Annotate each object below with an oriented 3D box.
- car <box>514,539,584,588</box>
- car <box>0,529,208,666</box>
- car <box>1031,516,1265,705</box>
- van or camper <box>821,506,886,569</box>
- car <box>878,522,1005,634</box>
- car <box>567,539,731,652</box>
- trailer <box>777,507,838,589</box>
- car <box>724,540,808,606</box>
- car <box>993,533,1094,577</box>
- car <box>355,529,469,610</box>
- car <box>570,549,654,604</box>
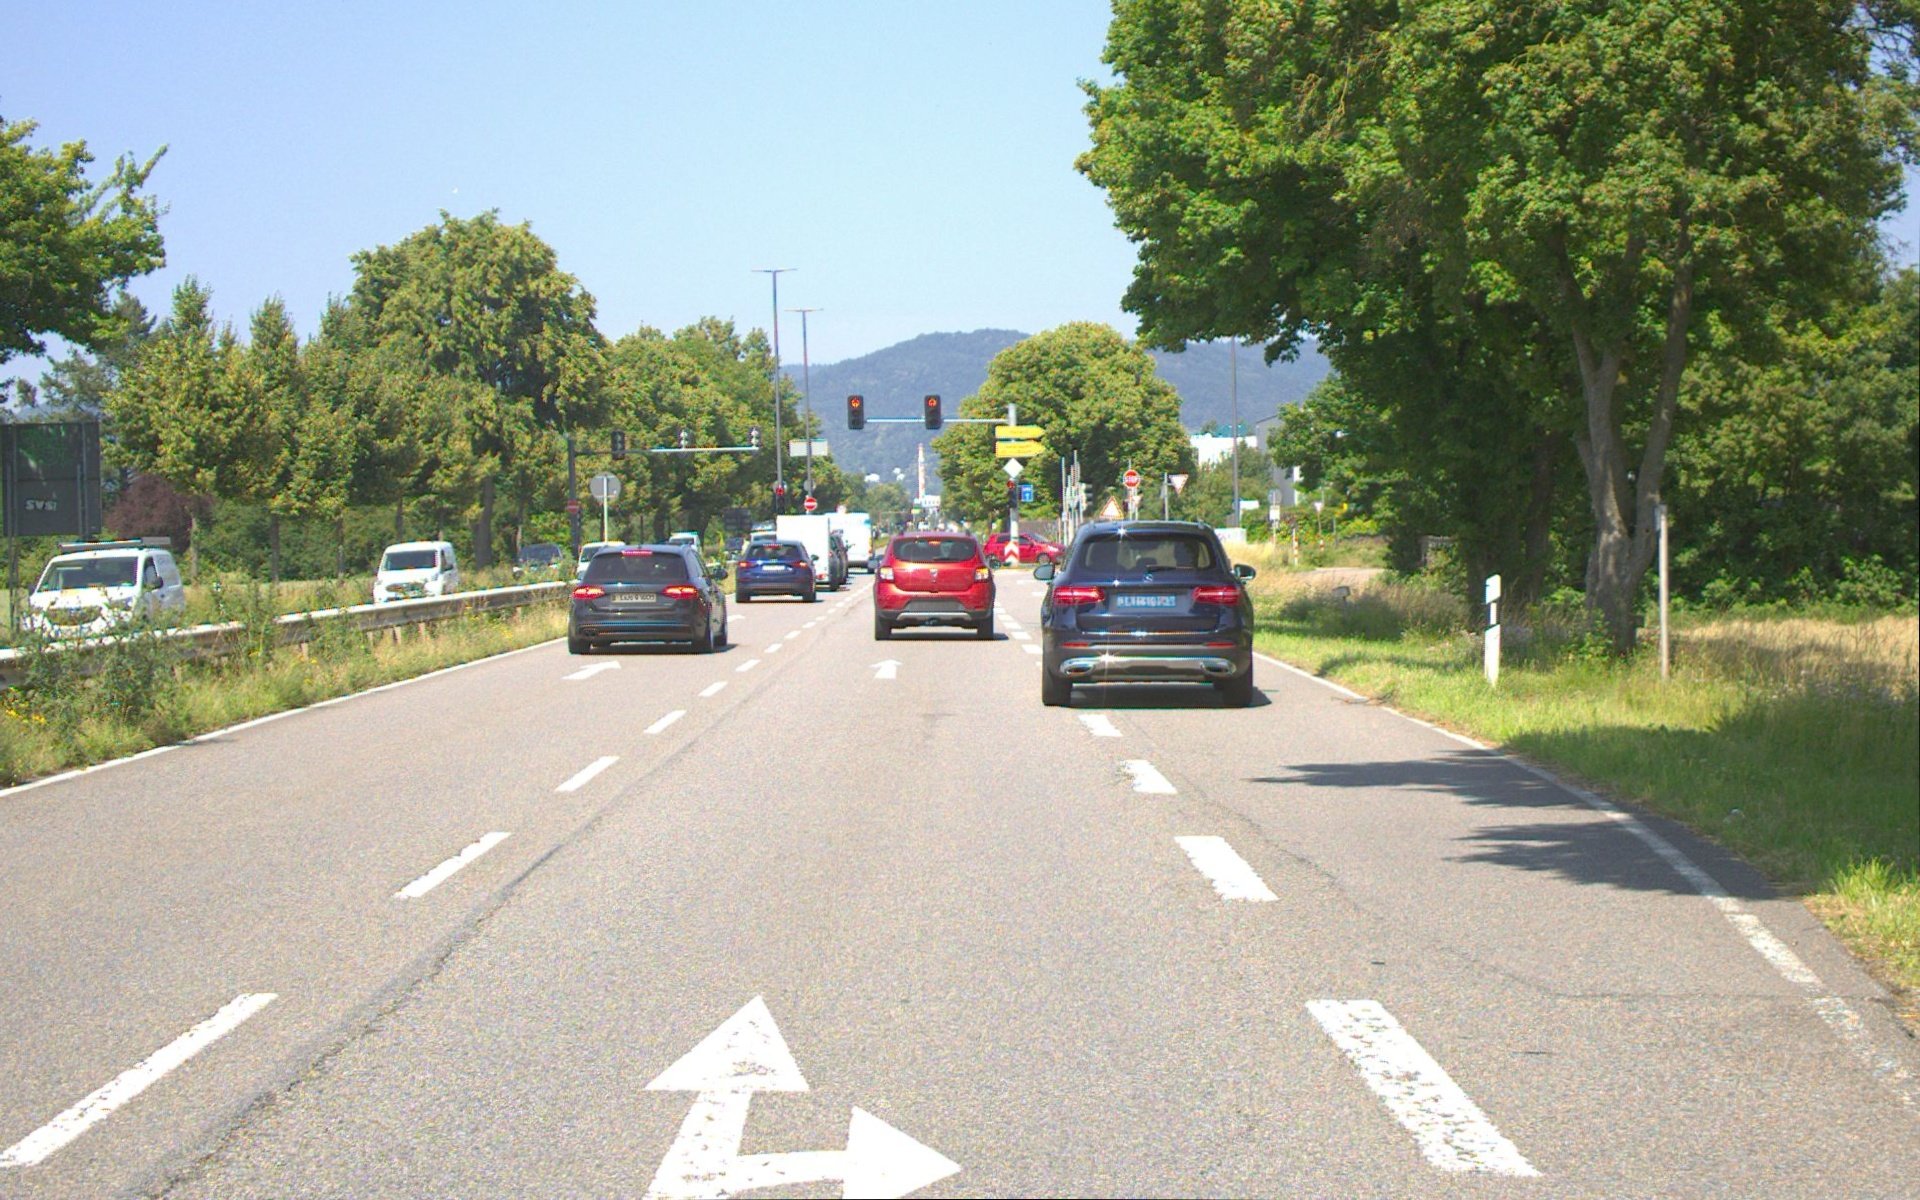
[{"bbox_3d":[-14.635,-1.313,122.568,1.993,1.657,4.481,-1,1,-1],"label":"car"},{"bbox_3d":[-13.488,-0.079,54.098,2.038,2.007,4.532,-2,1,3],"label":"car"},{"bbox_3d":[1.645,0.042,31.488,1.993,1.611,4.339,0,1,1],"label":"car"},{"bbox_3d":[-4.017,-2.370,130.160,2.179,2.295,4.827,-2,1,1],"label":"van or camper"},{"bbox_3d":[-0.233,-0.352,50.045,1.749,1.570,3.676,0,1,1],"label":"car"},{"bbox_3d":[-4.008,-0.095,44.922,1.740,1.376,4.455,1,1,0],"label":"car"},{"bbox_3d":[-4.185,-1.435,94.588,1.500,2.166,4.174,-1,1,-1],"label":"trailer"},{"bbox_3d":[-4.423,-0.635,78.901,1.717,1.460,4.030,0,1,0],"label":"car"},{"bbox_3d":[3.605,-1.913,147.310,3.989,1.760,1.934,-1,1,12],"label":"car"},{"bbox_3d":[-14.302,-0.829,90.010,1.993,1.954,4.927,-3,1,1],"label":"car"},{"bbox_3d":[-10.370,-0.718,102.774,1.993,1.551,4.481,-2,1,0],"label":"car"}]
